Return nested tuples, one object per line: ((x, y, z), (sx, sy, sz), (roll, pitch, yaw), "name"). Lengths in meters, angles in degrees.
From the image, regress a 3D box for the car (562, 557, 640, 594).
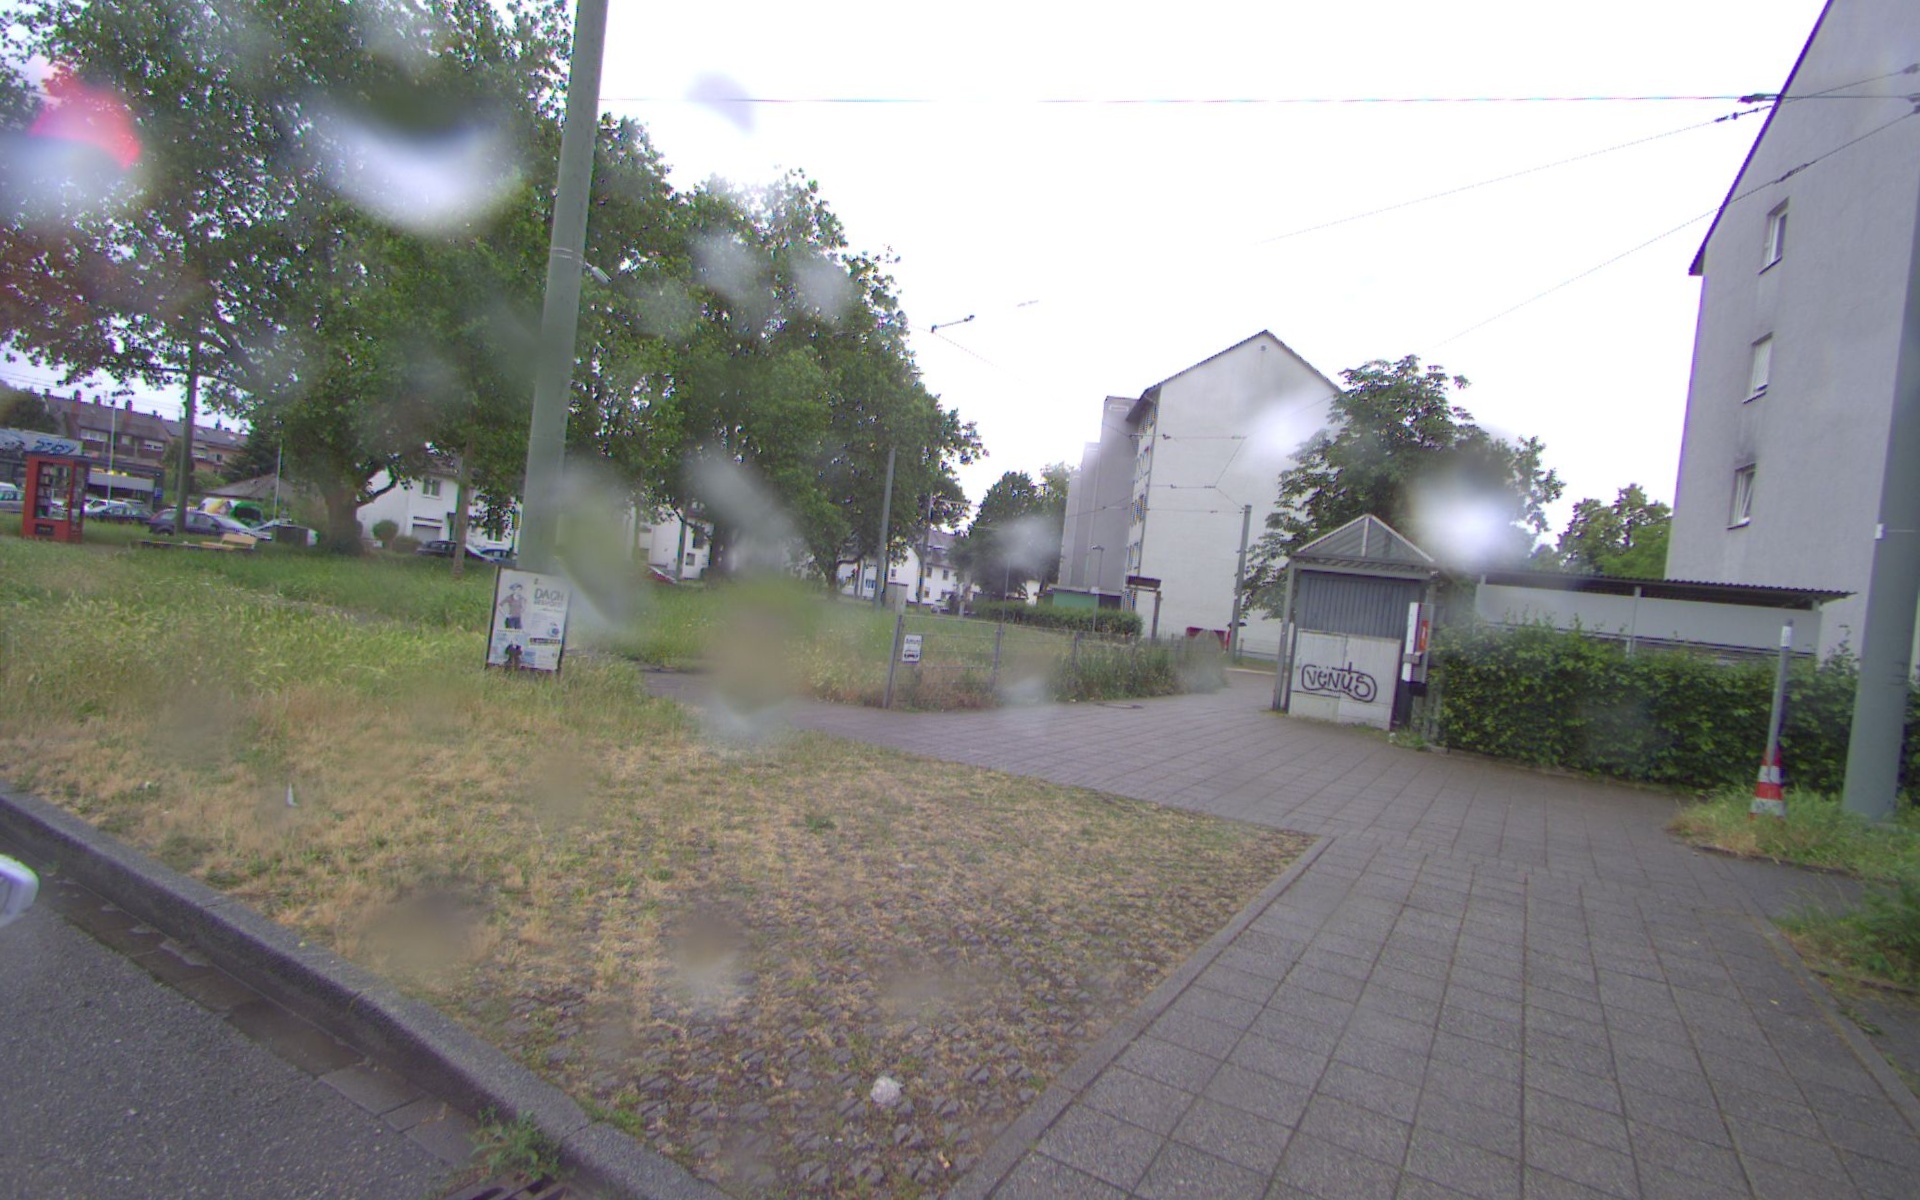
((-20.115, -1.355, 56.534), (3.855, 1.512, 1.806), (8, -2, -15), "car")

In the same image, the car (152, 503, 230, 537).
((-55.468, -5.757, 72.608), (1.816, 1.658, 3.995), (6, -2, 32), "car")

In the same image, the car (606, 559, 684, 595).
((-18.632, -1.329, 59.590), (3.842, 1.513, 1.812), (7, -2, 3), "car")

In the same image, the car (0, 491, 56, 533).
((-46.587, -4.426, 48.730), (1.859, 1.720, 3.692), (6, -2, 32), "car")

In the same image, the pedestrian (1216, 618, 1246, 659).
((11.850, 1.681, 43.949), (0.806, 1.674, 0.889), (6, -1, 41), "pedestrian")

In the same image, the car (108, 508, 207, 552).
((-43.431, -3.777, 54.513), (1.859, 1.720, 3.692), (6, -2, 32), "car")

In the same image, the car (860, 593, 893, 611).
((-9.834, 0.234, 118.851), (1.859, 1.679, 3.692), (6, -2, 32), "car")

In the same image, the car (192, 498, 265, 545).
((-46.748, -5.050, 64.271), (4.280, 2.471, 1.998), (6, -2, 31), "car")

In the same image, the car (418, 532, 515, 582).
((-23.735, -2.037, 48.531), (3.710, 1.819, 1.806), (8, -2, -15), "car")

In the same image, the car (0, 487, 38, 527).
((-54.728, -5.450, 56.356), (1.966, 1.973, 3.997), (6, -2, 30), "car")

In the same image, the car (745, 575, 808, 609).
((-12.745, -0.542, 70.103), (3.843, 1.785, 1.812), (7, -2, 0), "car")

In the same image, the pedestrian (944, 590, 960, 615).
((-0.622, 0.231, 78.395), (1.022, 1.811, 0.818), (7, -1, -3), "pedestrian")

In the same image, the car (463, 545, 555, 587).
((-22.815, -1.681, 51.064), (3.855, 1.512, 1.806), (8, -2, -15), "car")

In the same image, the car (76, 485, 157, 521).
((-61.691, -7.073, 73.624), (1.968, 1.811, 3.992), (6, -2, 34), "car")

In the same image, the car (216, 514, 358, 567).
((-25.166, -2.203, 37.711), (1.819, 1.300, 3.987), (6, -3, 39), "car")

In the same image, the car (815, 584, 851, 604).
((-14.088, -0.617, 111.608), (1.859, 1.679, 3.692), (6, -2, 32), "car")

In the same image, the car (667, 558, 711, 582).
((-25.714, -2.794, 95.526), (1.859, 1.679, 3.692), (6, -2, 32), "car")

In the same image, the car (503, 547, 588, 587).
((-21.983, -1.723, 53.500), (3.855, 1.512, 1.806), (8, -2, -15), "car")

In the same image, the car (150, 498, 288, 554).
((-29.198, -2.892, 39.785), (3.855, 1.512, 1.806), (8, -2, -15), "car")
